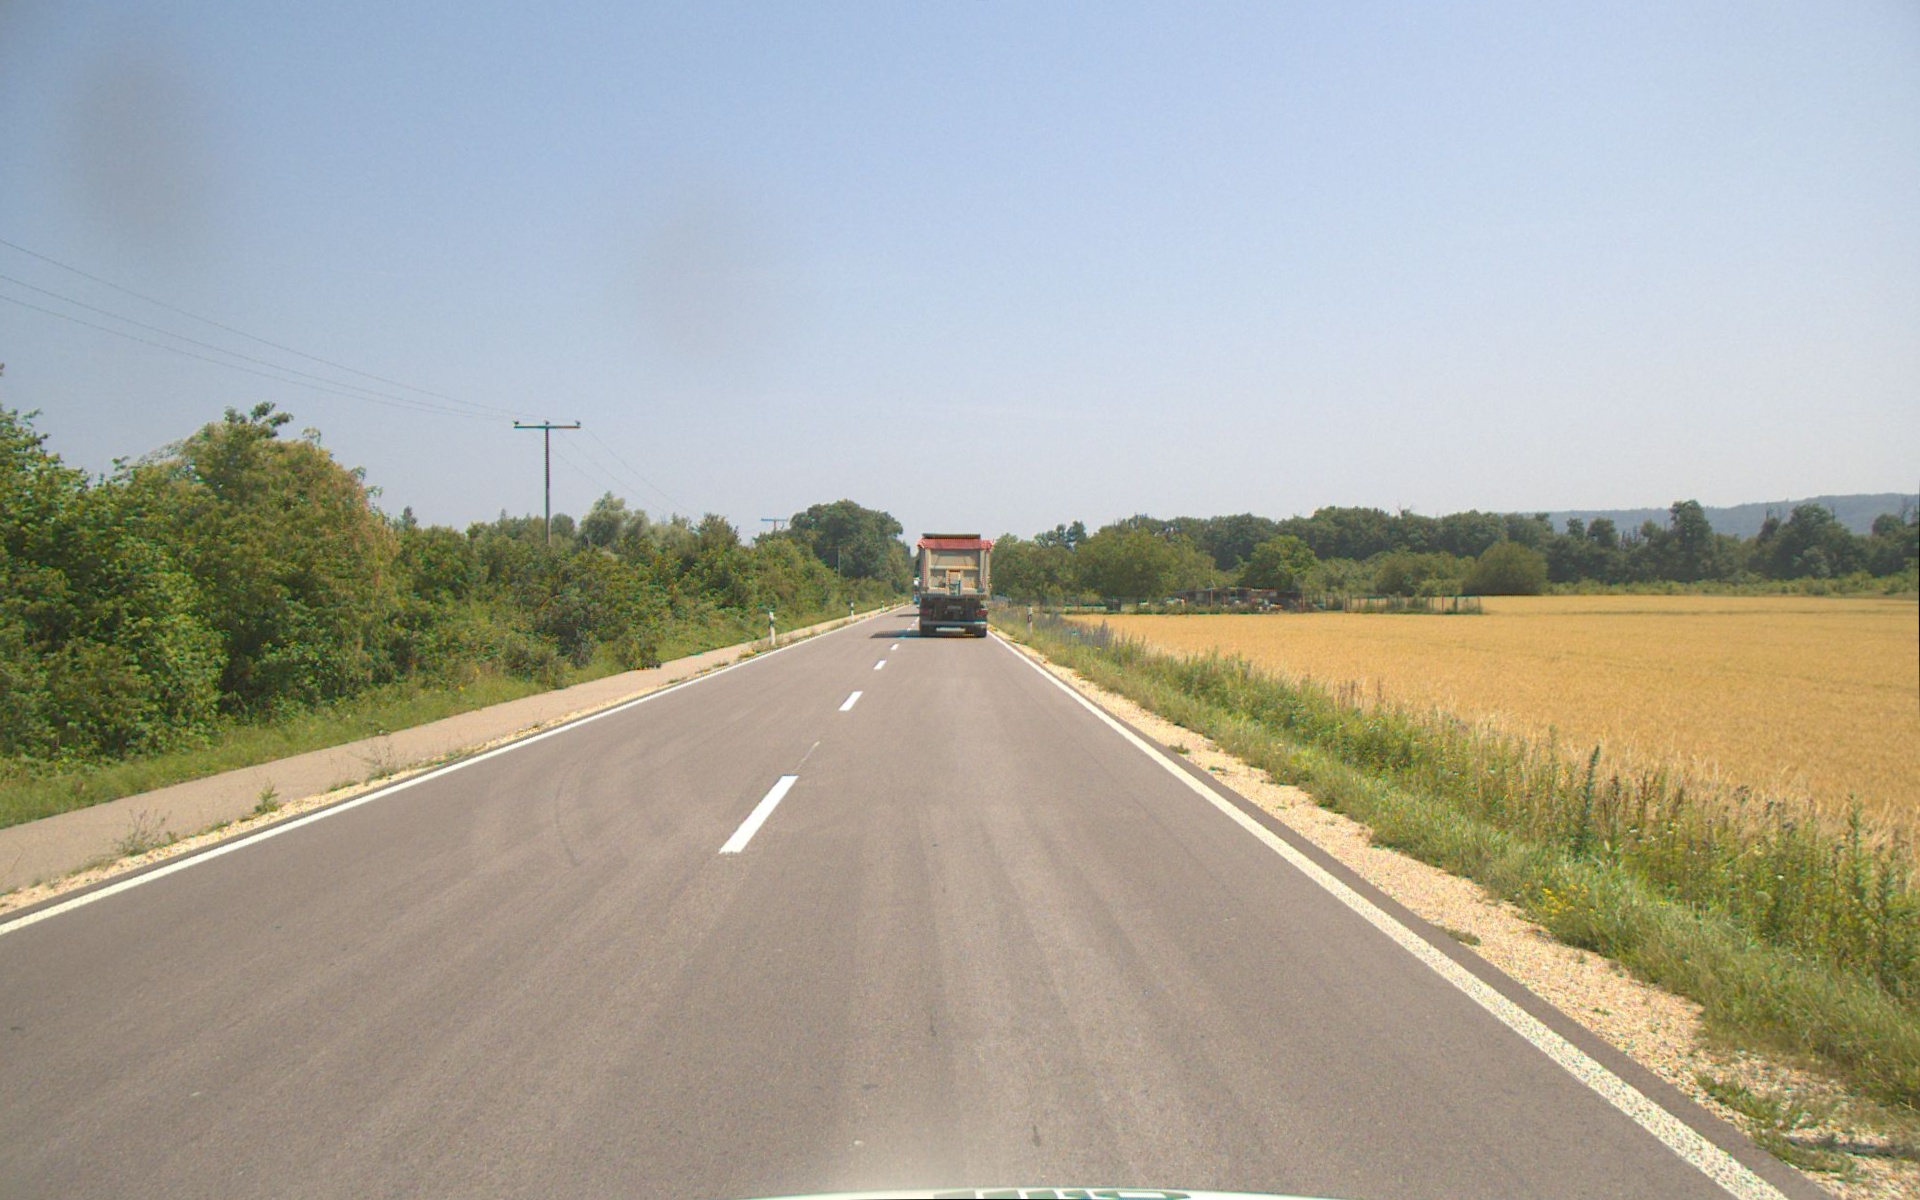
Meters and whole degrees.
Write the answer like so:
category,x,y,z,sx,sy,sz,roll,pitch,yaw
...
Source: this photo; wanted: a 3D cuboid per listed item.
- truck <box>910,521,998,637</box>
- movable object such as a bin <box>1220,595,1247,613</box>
category,x,y,z,sx,sy,sz,roll,pitch,yaw
truck,-0.301,-0.712,63.856,2.948,3.942,12.206,1,0,-1
movable object such as a bin,24.554,0.346,148.729,1.540,1.522,3.655,0,0,-5
